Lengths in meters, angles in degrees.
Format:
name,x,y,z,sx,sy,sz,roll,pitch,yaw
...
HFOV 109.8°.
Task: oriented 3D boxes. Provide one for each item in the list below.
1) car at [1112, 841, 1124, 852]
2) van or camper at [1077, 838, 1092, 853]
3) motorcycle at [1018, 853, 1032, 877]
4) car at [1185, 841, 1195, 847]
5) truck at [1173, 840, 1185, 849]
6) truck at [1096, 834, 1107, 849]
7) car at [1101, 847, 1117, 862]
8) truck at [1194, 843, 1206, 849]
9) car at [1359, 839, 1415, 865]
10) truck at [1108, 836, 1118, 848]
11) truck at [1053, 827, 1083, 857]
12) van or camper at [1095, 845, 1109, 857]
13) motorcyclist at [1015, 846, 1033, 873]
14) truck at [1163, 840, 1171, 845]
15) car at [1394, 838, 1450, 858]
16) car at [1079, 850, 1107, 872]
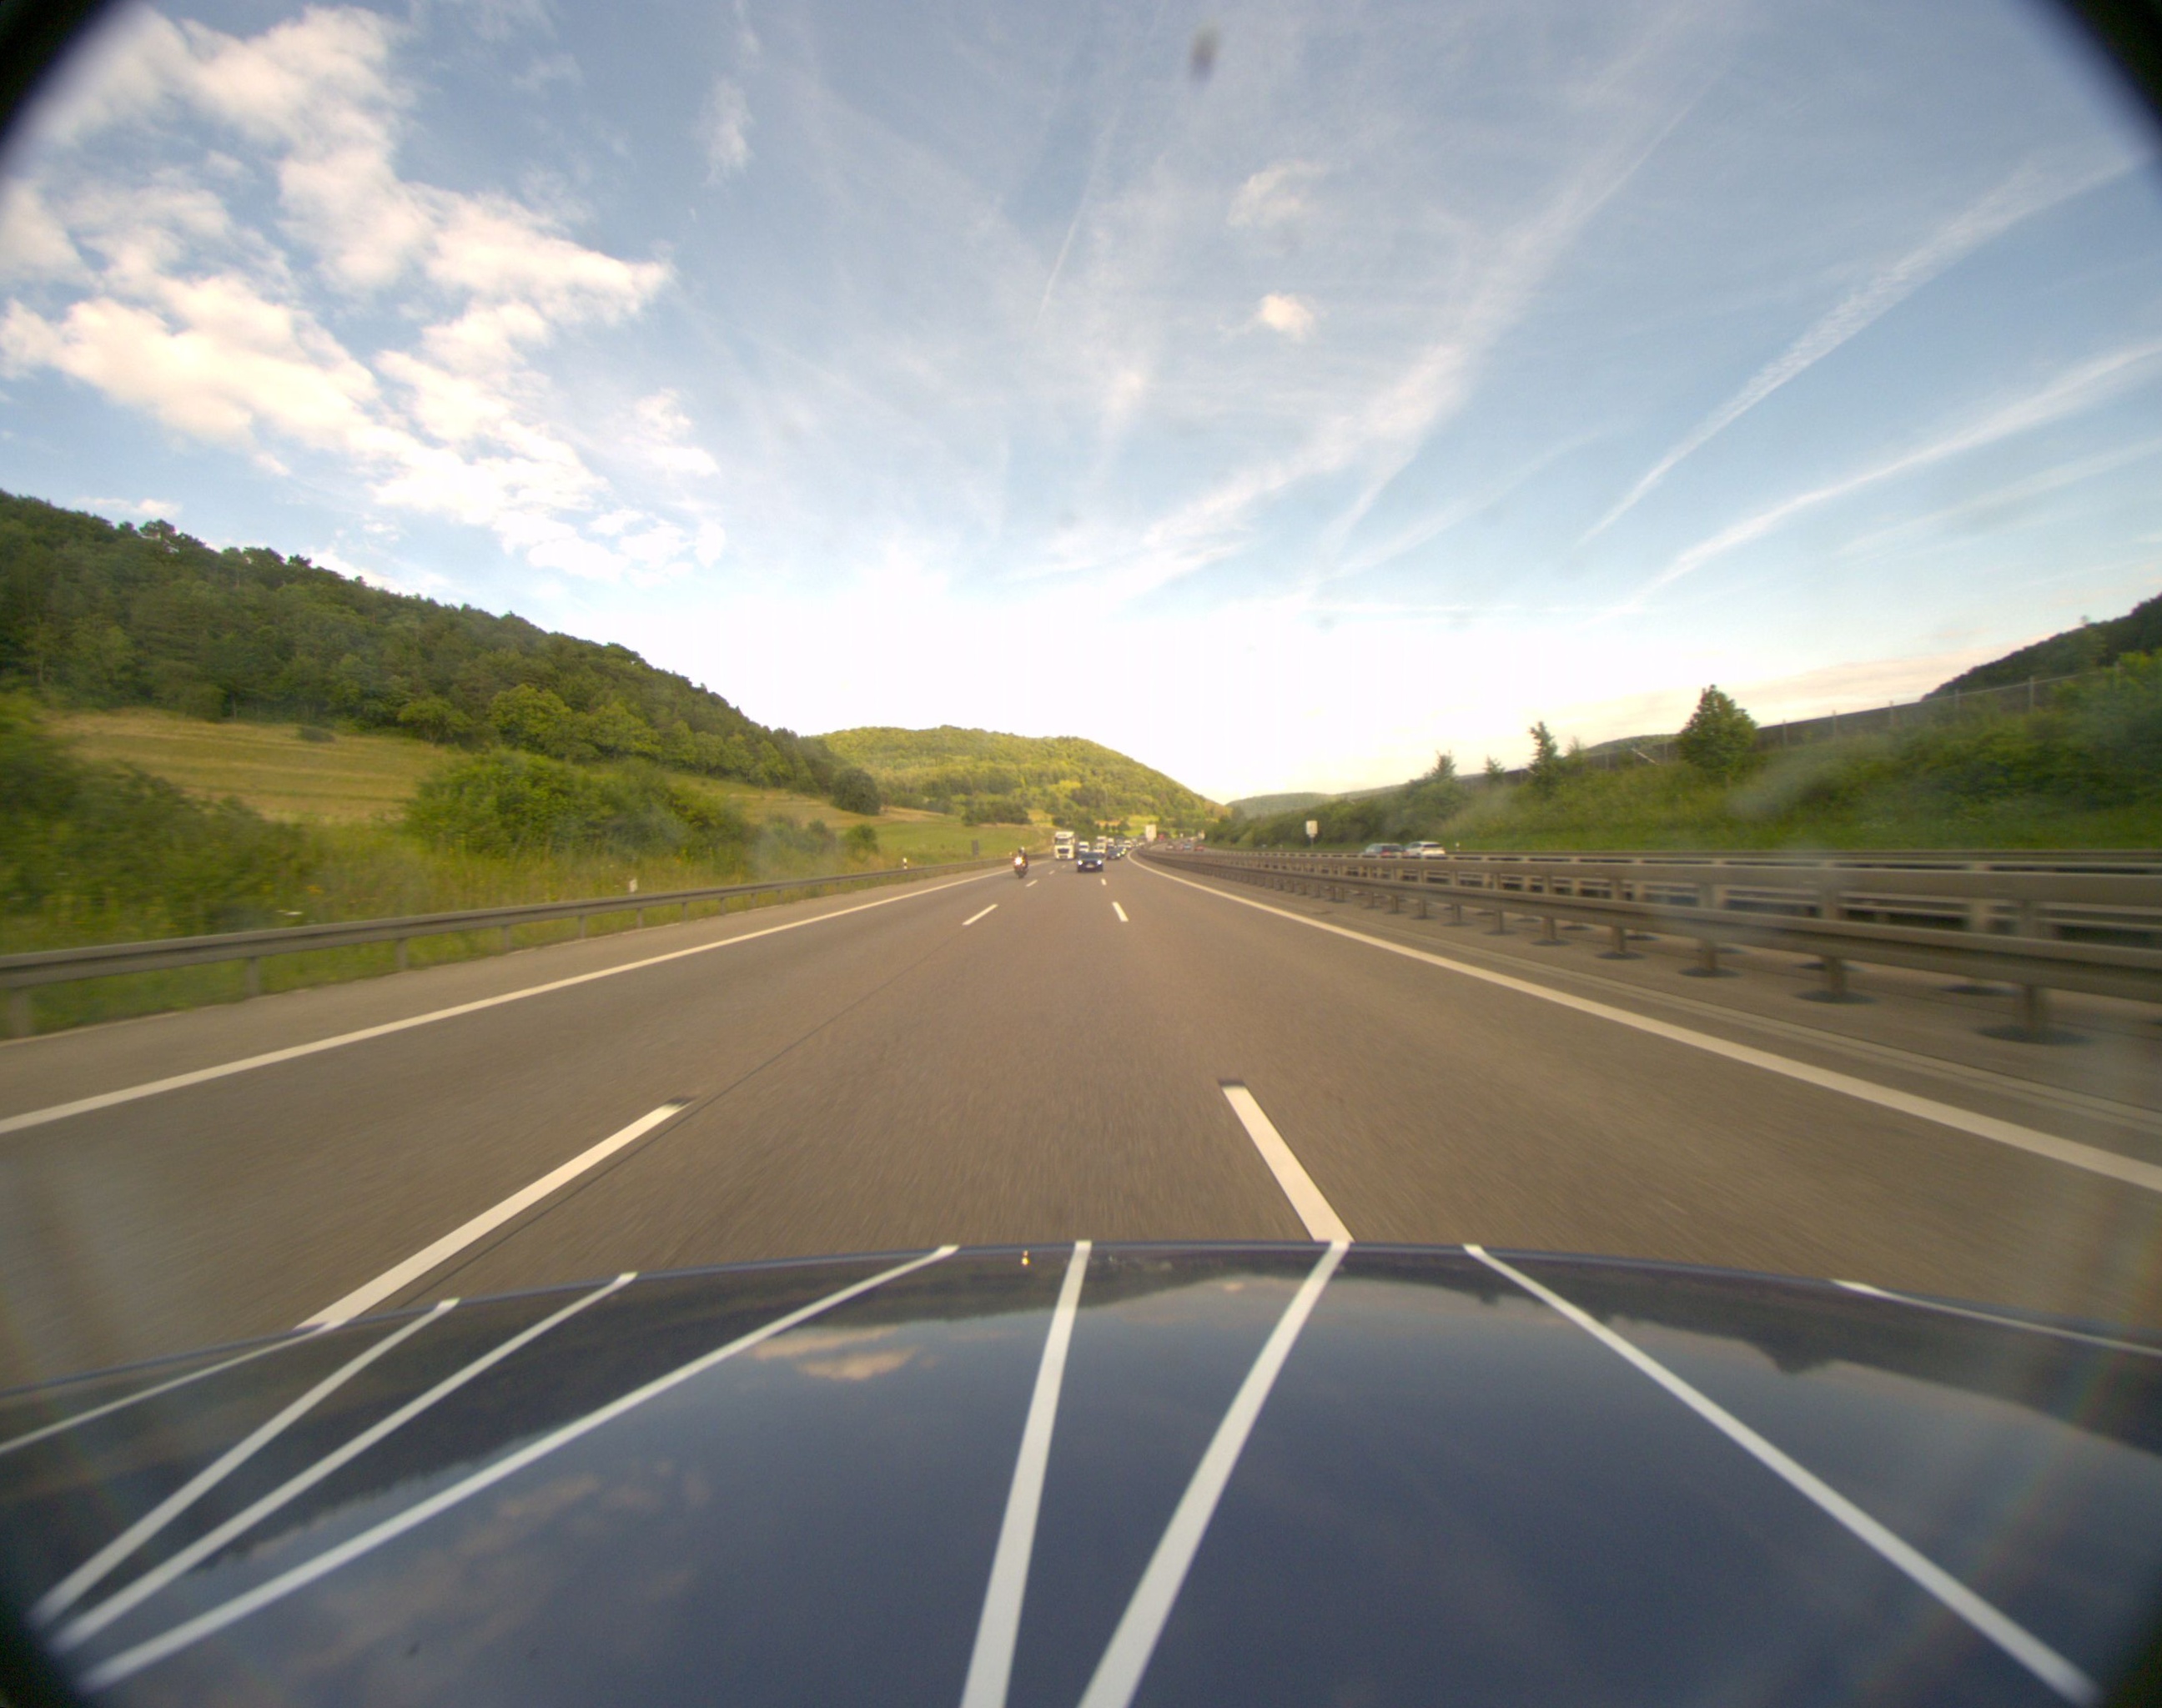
name,x,y,z,sx,sy,sz,roll,pitch,yaw
car,6.185,-1.240,126.626,1.998,1.871,4.000,0,1,4
van or camper,0.648,-1.665,146.187,1.997,2.702,7.524,-1,1,6
motorcycle,-3.291,0.642,44.588,0.628,1.331,1.739,-1,2,2
car,27.785,-2.619,193.317,1.998,1.346,4.355,-2,1,2
truck,19.192,-1.864,148.619,1.998,1.585,4.847,0,1,3
truck,5.812,-3.571,215.752,2.925,3.877,13.008,-1,2,2
car,3.659,0.007,98.413,1.998,1.871,4.000,0,1,4
truck,24.911,-1.668,159.179,1.998,1.346,3.946,0,1,2
car,18.496,-0.104,46.106,1.998,1.477,4.001,-2,0,4
truck,10.604,-4.038,250.730,2.707,3.628,9.035,-1,2,6
truck,-1.760,-1.834,110.305,2.971,3.970,17.731,-1,1,3
van or camper,3.473,-0.506,122.488,1.998,1.881,4.487,-1,2,4
motorcyclist,-3.331,0.310,44.740,0.878,1.506,0.797,-2,2,5
truck,21.325,-2.888,188.960,1.997,1.215,4.001,0,1,7
car,24.922,-0.466,55.650,1.764,1.350,4.380,-2,1,-6
car,0.819,0.424,49.895,1.580,1.311,4.000,-1,2,4
